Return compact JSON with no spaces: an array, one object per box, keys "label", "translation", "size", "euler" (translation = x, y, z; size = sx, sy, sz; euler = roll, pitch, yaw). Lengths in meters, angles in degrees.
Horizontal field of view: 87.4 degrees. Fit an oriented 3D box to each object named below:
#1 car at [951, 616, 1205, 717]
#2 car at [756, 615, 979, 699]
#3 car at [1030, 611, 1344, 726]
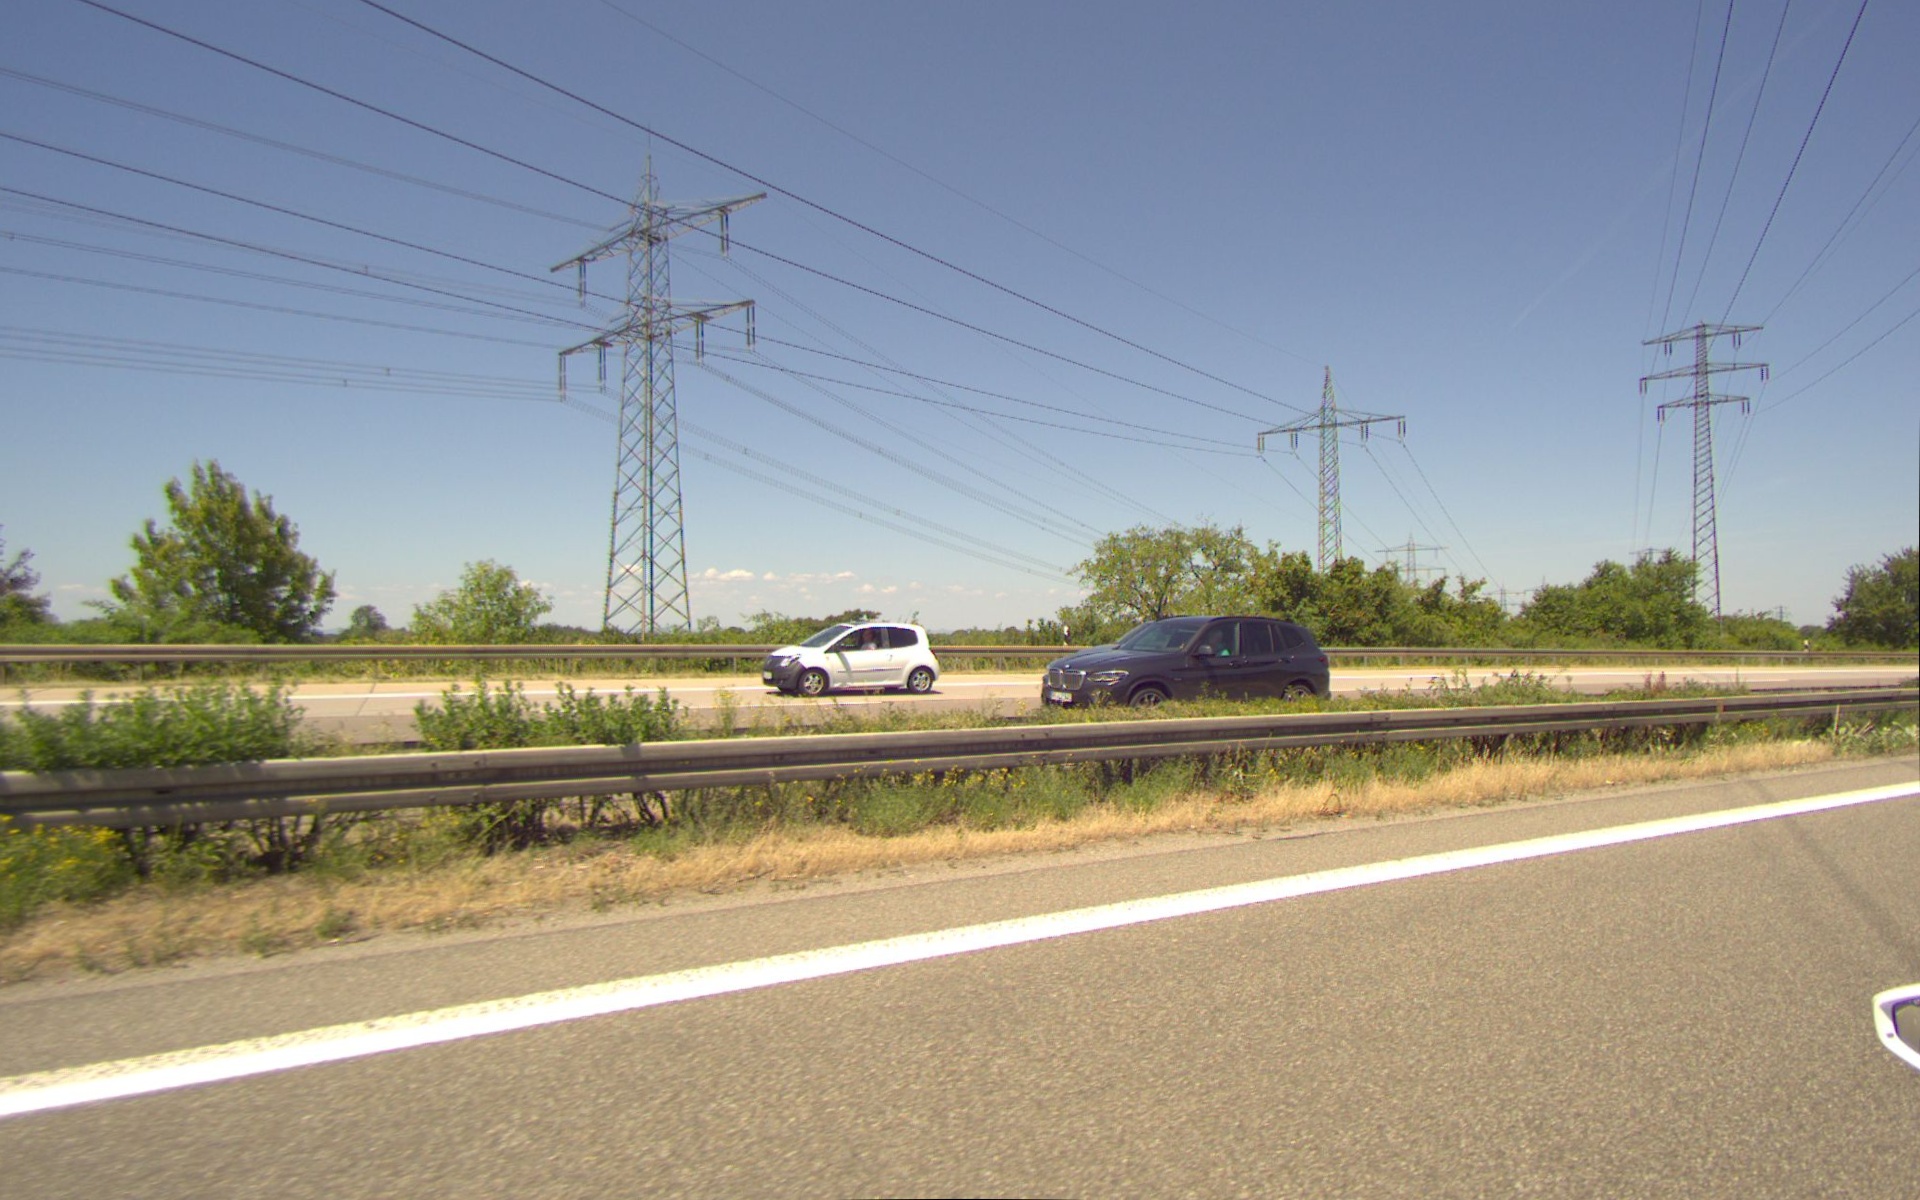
[{"label":"car","translation":[2.198,1.122,18.475],"size":[4.359,1.639,1.984],"euler":[0,0,-30]},{"label":"car","translation":[-1.856,1.128,20.548],"size":[4.229,1.553,1.658],"euler":[2,-1,-30]},{"label":"car","translation":[3.399,0.955,14.892],"size":[4.359,1.454,1.984],"euler":[2,-1,-30]}]
